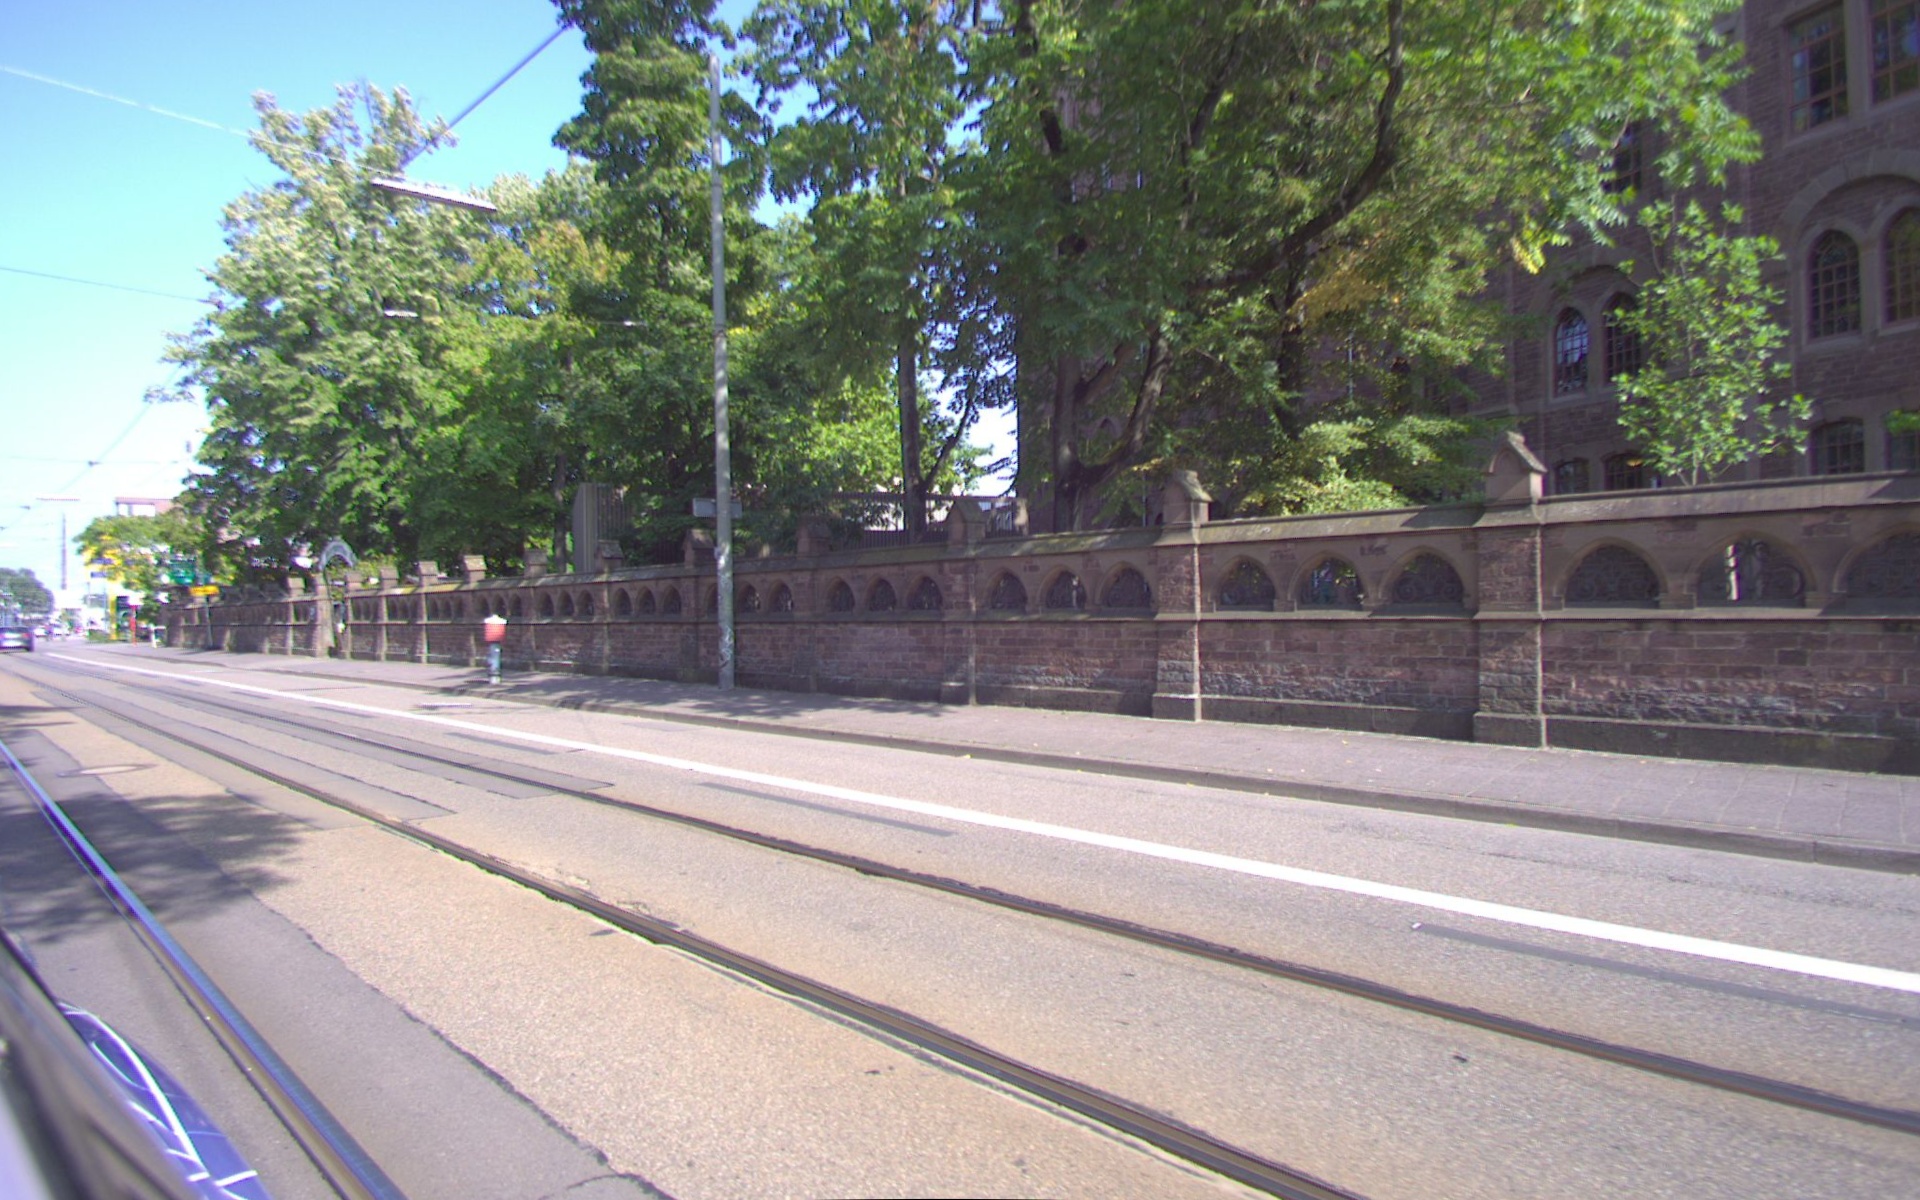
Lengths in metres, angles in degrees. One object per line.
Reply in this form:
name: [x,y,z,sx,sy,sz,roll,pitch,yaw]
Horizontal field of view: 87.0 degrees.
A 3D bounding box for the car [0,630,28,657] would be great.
car: [-52.010,2.345,55.052,4.000,1.453,1.672,-2,-2,43]
